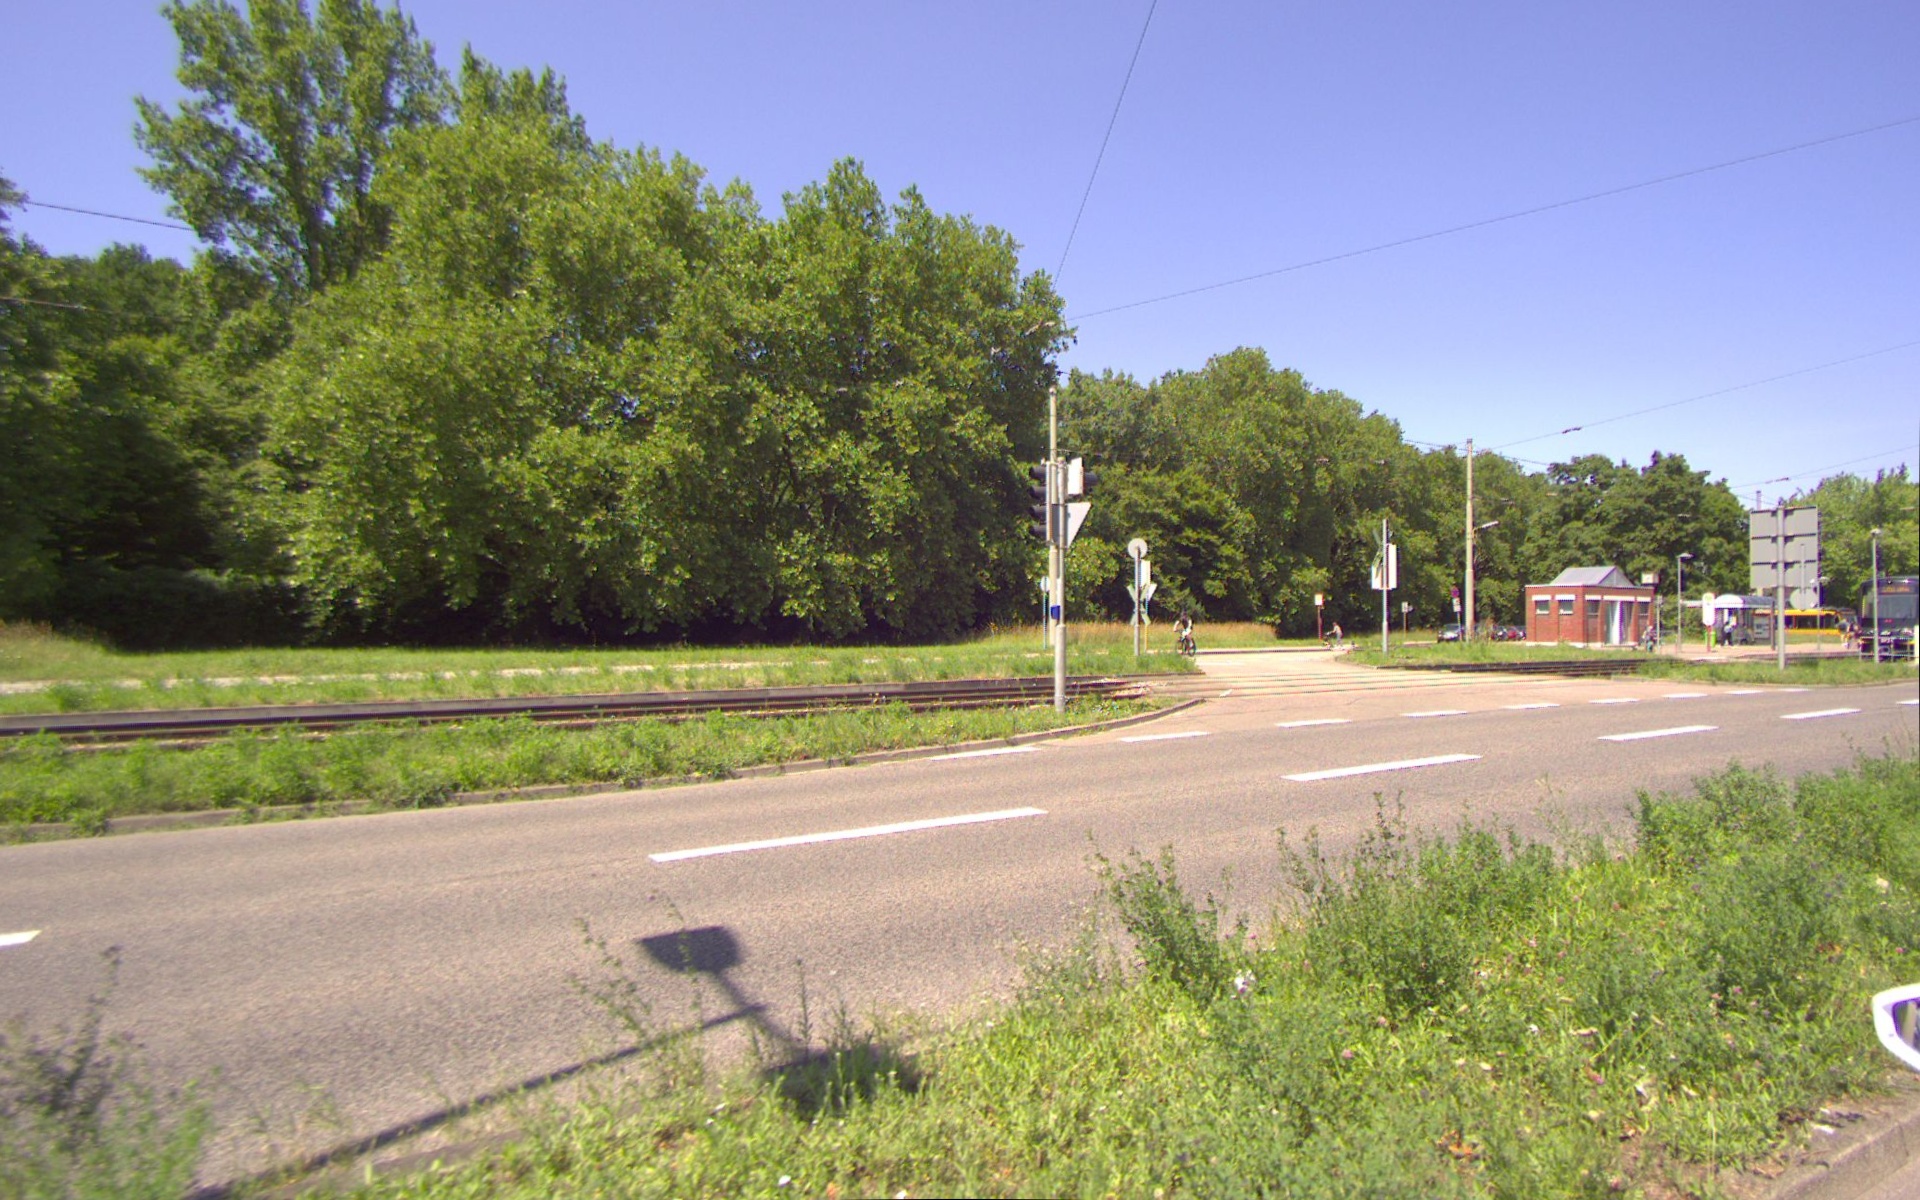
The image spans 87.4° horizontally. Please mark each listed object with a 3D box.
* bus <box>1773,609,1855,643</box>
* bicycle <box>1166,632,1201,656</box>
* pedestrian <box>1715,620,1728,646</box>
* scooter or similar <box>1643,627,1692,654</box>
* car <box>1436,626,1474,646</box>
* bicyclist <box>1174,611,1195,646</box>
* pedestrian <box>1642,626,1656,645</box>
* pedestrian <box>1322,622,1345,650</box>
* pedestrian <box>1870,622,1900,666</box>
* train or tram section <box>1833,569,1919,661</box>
[{"bbox_3d":[93.839,2.855,110.591,1.963,3.614,7.549,1,-1,-7],"label":"bus"},{"bbox_3d":[8.922,1.731,39.987,1.552,0.913,0.504,1,-1,-39],"label":"bicycle"},{"bbox_3d":[42.897,1.838,56.561,0.520,1.455,0.458,1,-1,-35],"label":"pedestrian"},{"bbox_3d":[31.186,1.779,44.288,1.639,1.142,0.613,0,-1,12],"label":"scooter or similar"},{"bbox_3d":[38.698,2.809,78.424,1.968,1.486,3.985,0,-1,37],"label":"car"},{"bbox_3d":[8.935,1.126,39.977,0.674,1.353,0.504,1,-1,-38],"label":"bicyclist"},{"bbox_3d":[38.777,1.998,56.514,0.516,1.032,0.479,1,-1,-31],"label":"pedestrian"},{"bbox_3d":[22.693,2.177,61.005,1.245,1.724,0.518,0,-1,12],"label":"pedestrian"},{"bbox_3d":[33.324,1.572,36.190,0.528,1.561,0.868,0,-1,24],"label":"pedestrian"},{"bbox_3d":[53.417,0.920,51.903,37.118,3.717,2.771,1,-1,-34],"label":"train or tram section"}]
